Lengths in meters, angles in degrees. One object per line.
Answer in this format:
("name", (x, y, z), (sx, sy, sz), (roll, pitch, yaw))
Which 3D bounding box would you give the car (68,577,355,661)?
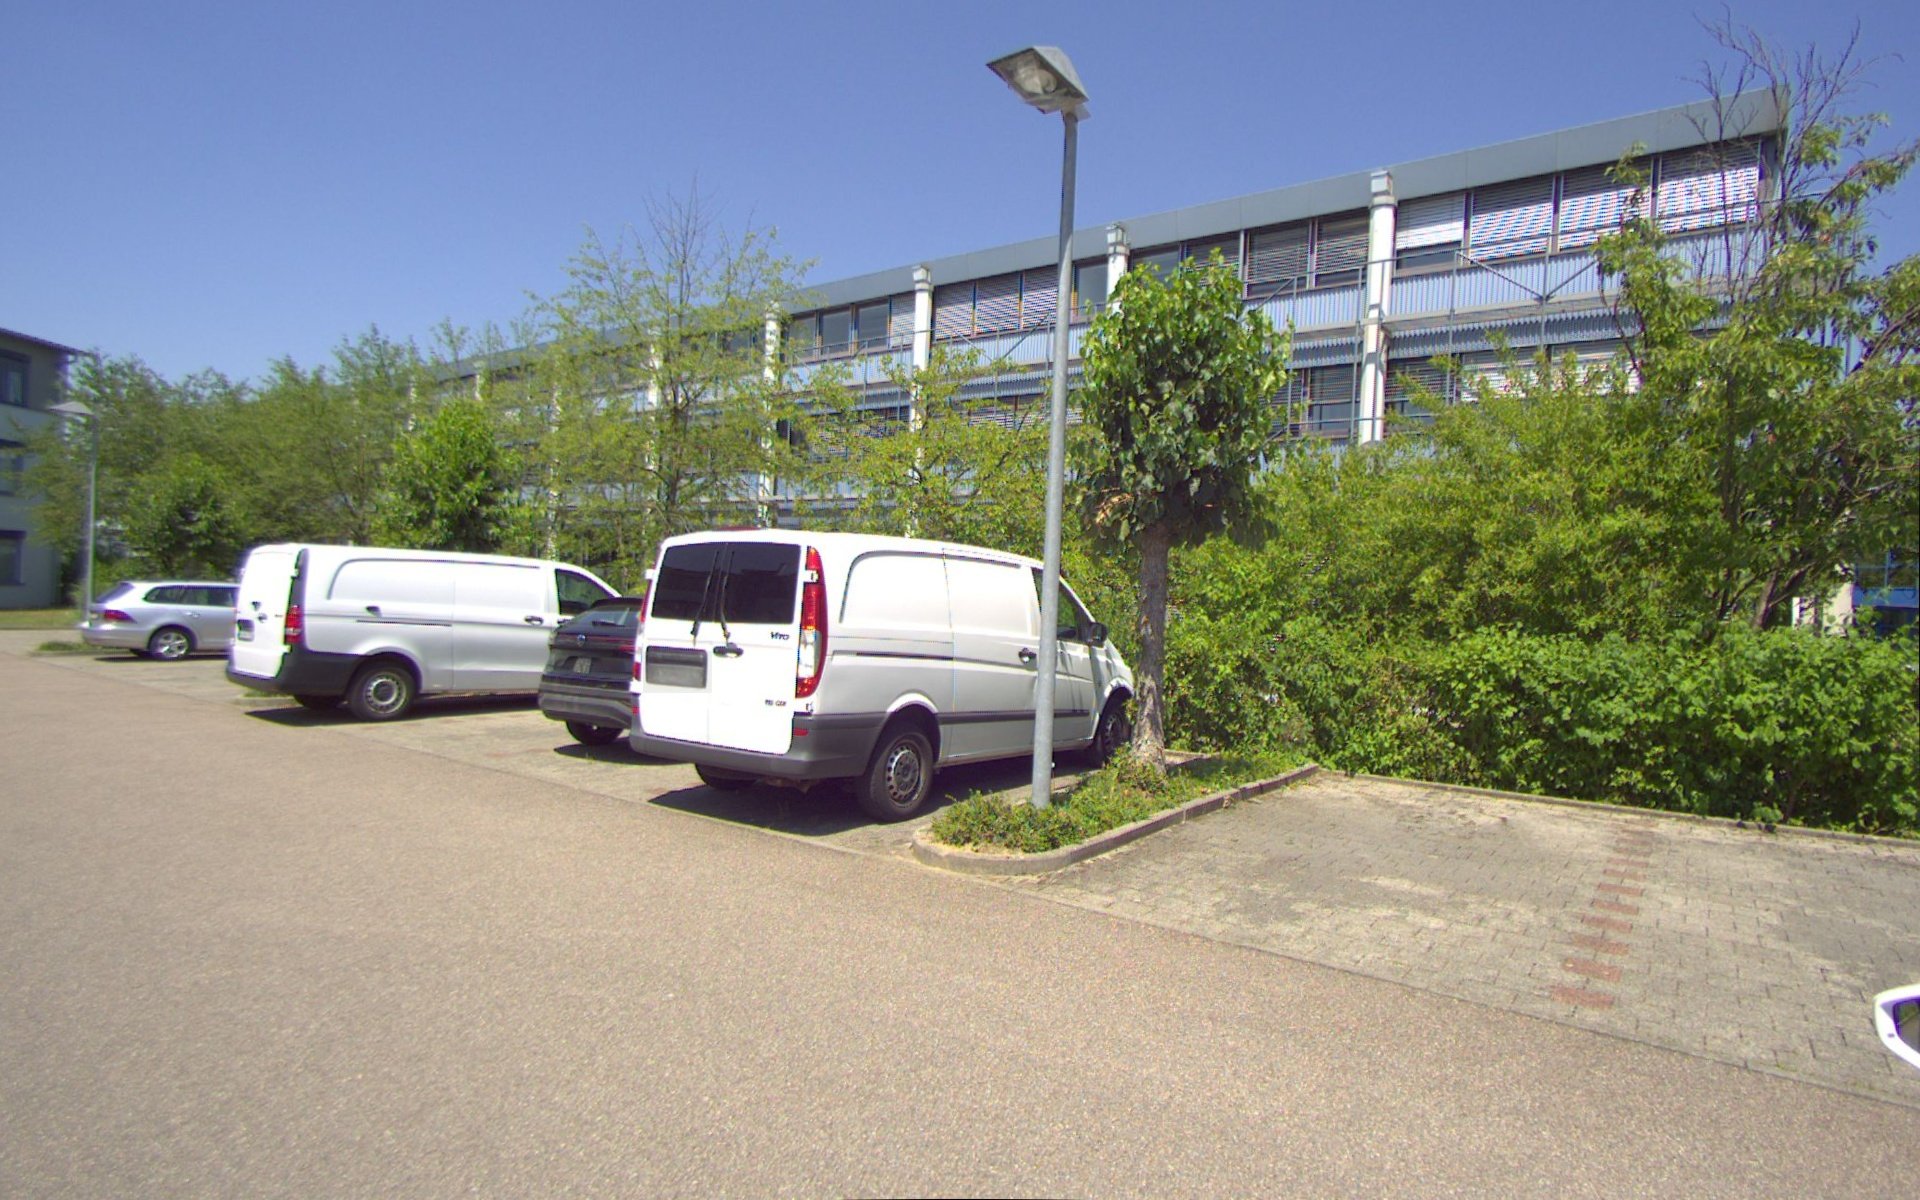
("car", (-14.429, 0.361, 19.561), (1.844, 1.425, 4.152), (2, 0, 39))

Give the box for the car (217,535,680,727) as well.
("car", (-6.068, 0.337, 12.508), (1.858, 1.916, 4.784), (2, 0, 38))

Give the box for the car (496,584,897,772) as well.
("car", (-2.422, 0.647, 10.278), (1.727, 1.496, 3.995), (1, 0, 27))

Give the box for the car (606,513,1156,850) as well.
("car", (-0.263, 0.494, 8.272), (1.887, 1.930, 4.792), (1, 0, 35))
